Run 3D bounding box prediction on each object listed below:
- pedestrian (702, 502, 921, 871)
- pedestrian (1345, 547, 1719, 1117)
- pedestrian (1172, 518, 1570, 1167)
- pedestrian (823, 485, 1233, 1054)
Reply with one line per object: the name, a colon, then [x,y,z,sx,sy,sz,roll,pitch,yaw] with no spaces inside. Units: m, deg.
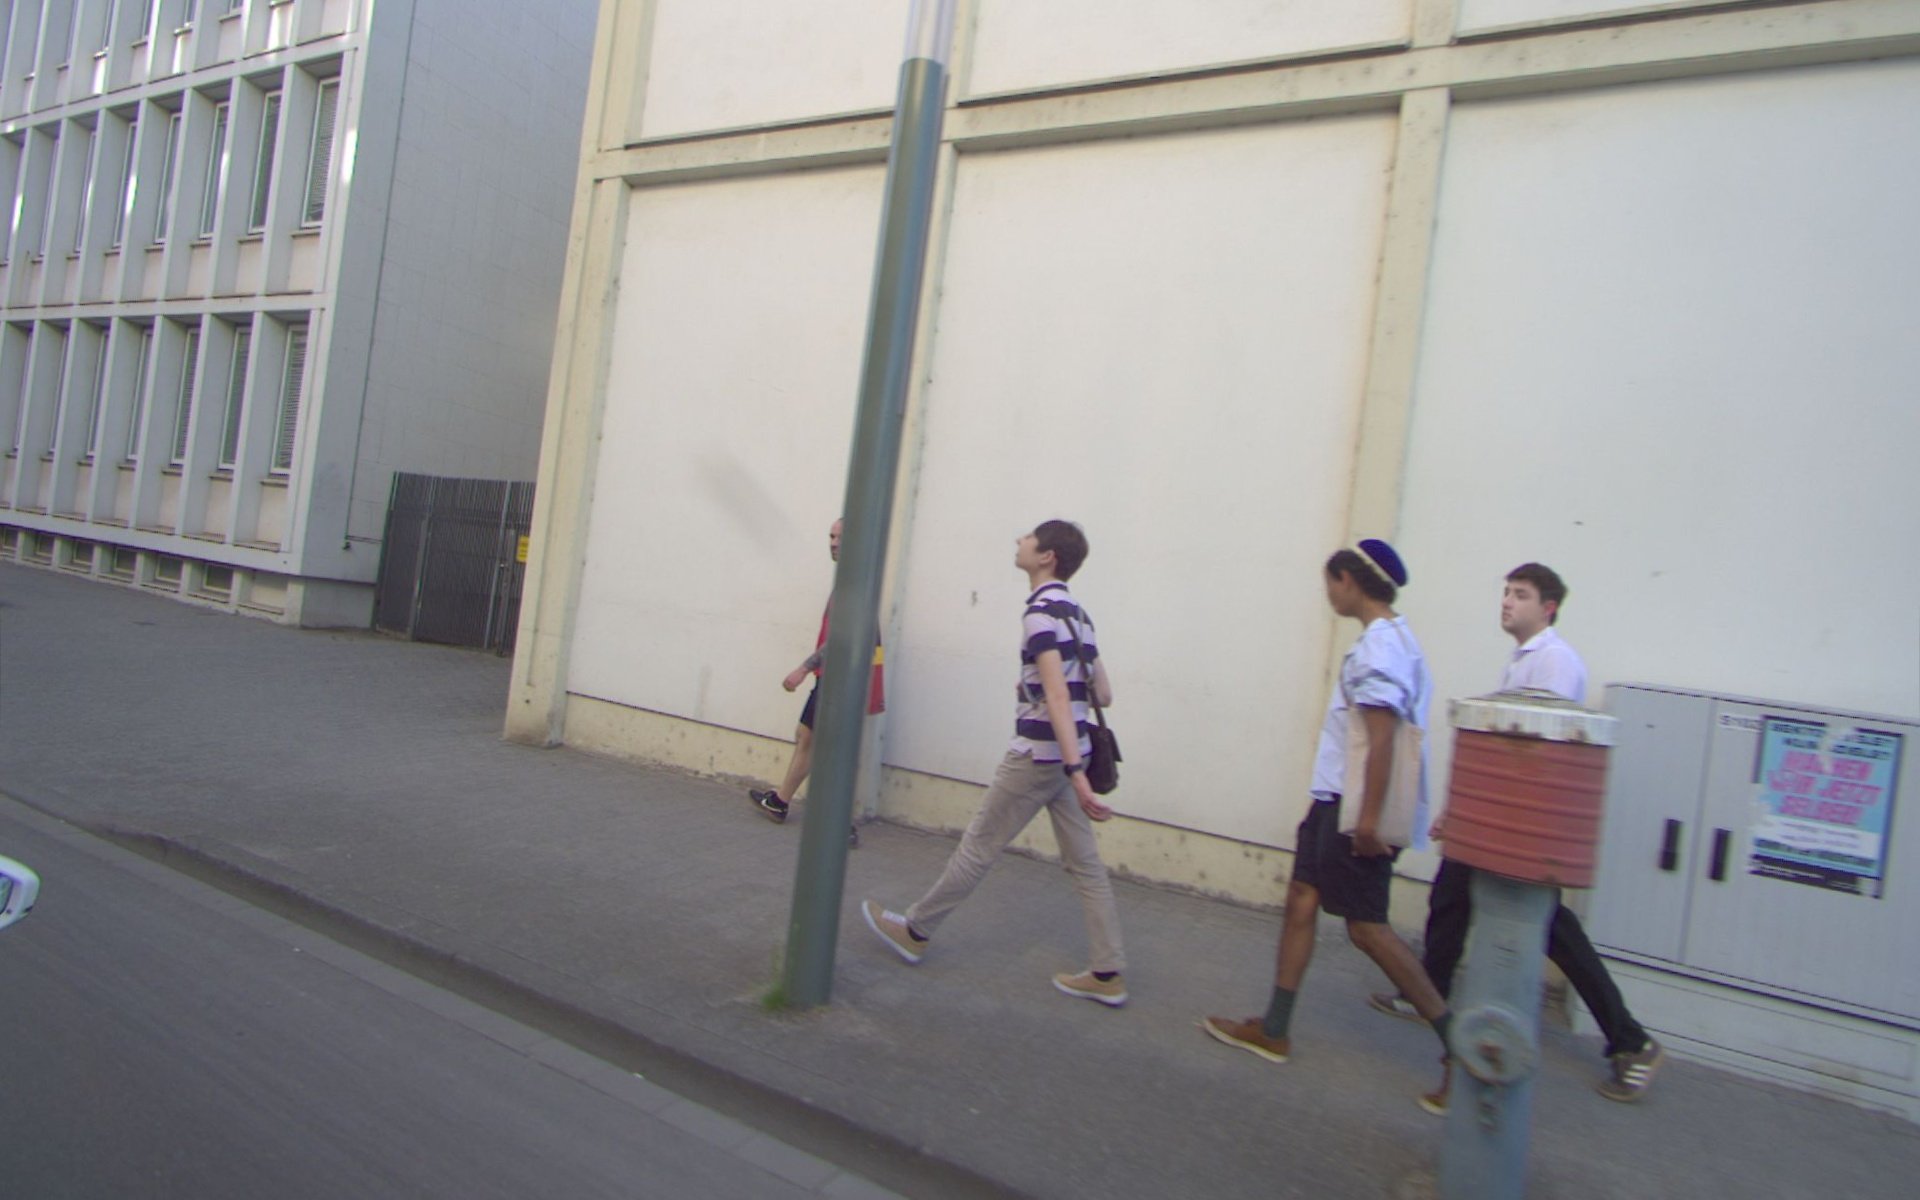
pedestrian: [-0.810,0.437,5.556,0.762,1.826,0.709,7,3,27]
pedestrian: [2.086,0.765,3.792,0.925,1.801,0.709,7,3,27]
pedestrian: [1.358,0.693,3.376,0.925,1.801,0.709,7,3,27]
pedestrian: [0.263,0.547,3.908,1.225,1.826,0.715,7,3,27]
